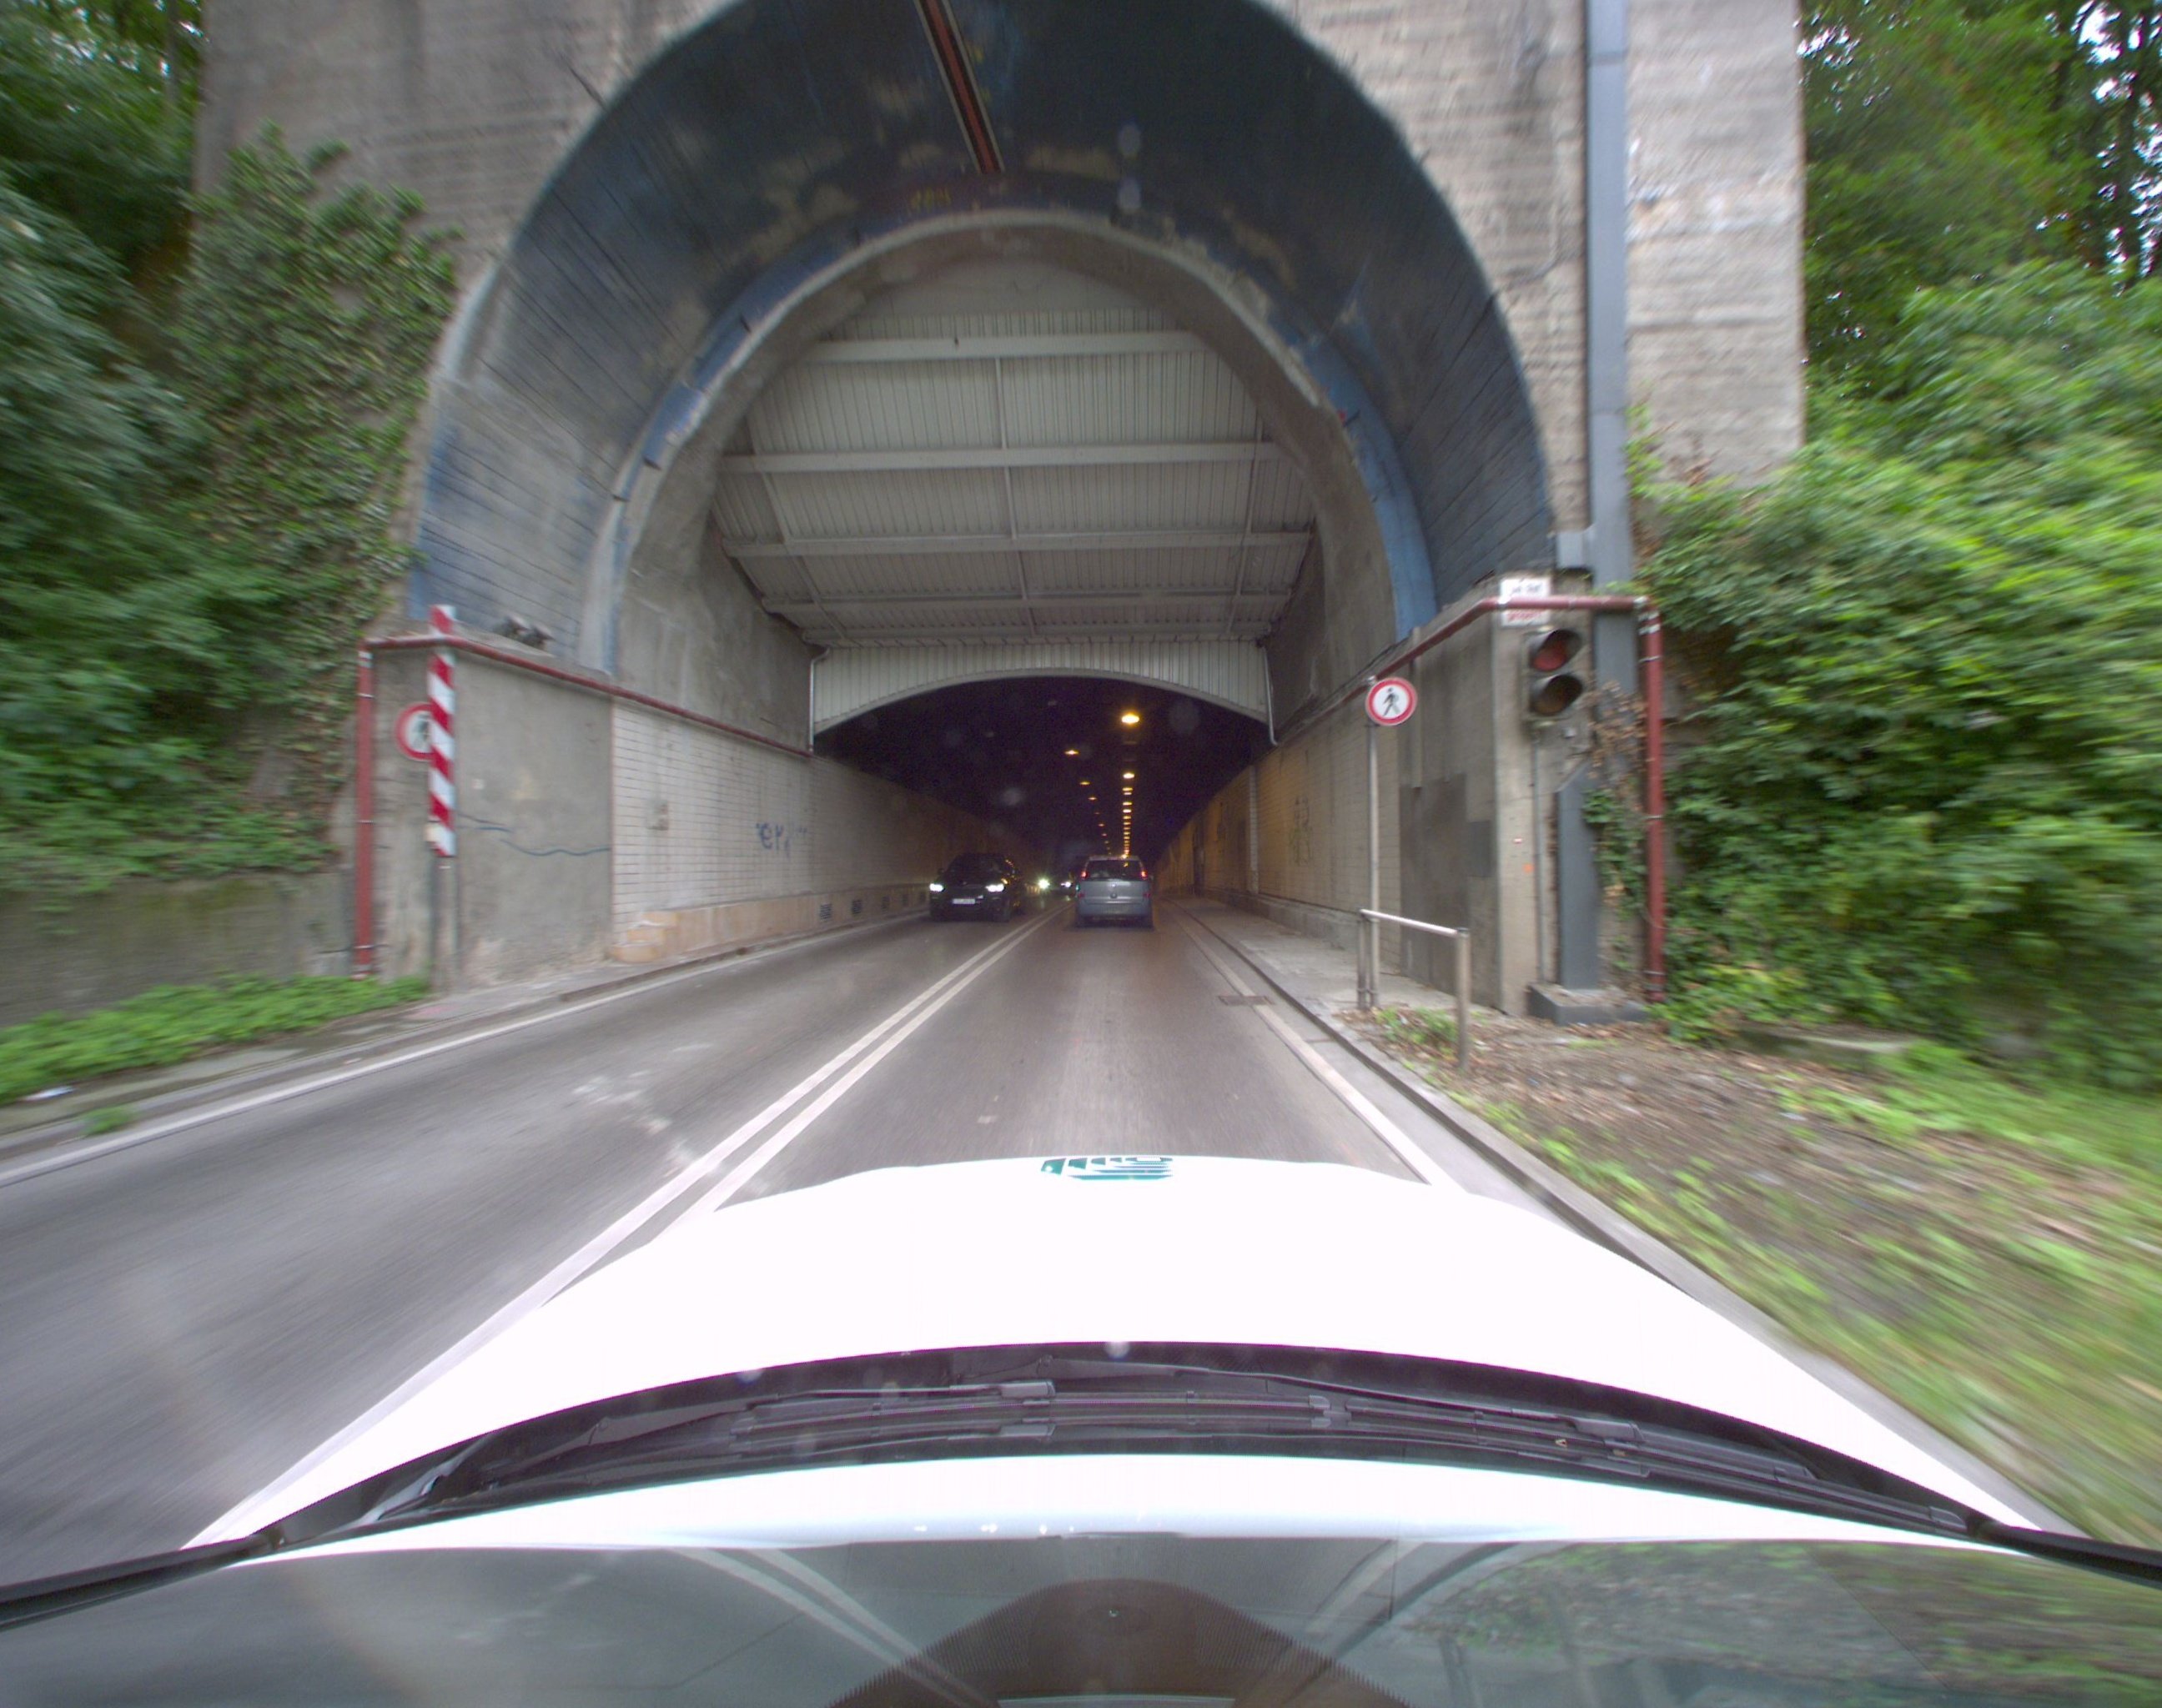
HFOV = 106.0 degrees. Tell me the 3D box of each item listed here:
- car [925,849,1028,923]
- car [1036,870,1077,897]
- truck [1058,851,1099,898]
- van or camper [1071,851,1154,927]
[{"bbox_3d":[-2.528,0.763,20.719,1.871,1.676,4.380,0,-1,3],"label":"car"},{"bbox_3d":[-1.308,1.650,45.460,1.885,1.469,4.163,0,-2,3],"label":"car"},{"bbox_3d":[-0.117,1.860,69.520,2.800,3.717,7.555,-1,-3,5],"label":"truck"},{"bbox_3d":[0.720,0.767,18.813,1.729,1.578,3.647,0,-1,2],"label":"van or camper"}]
